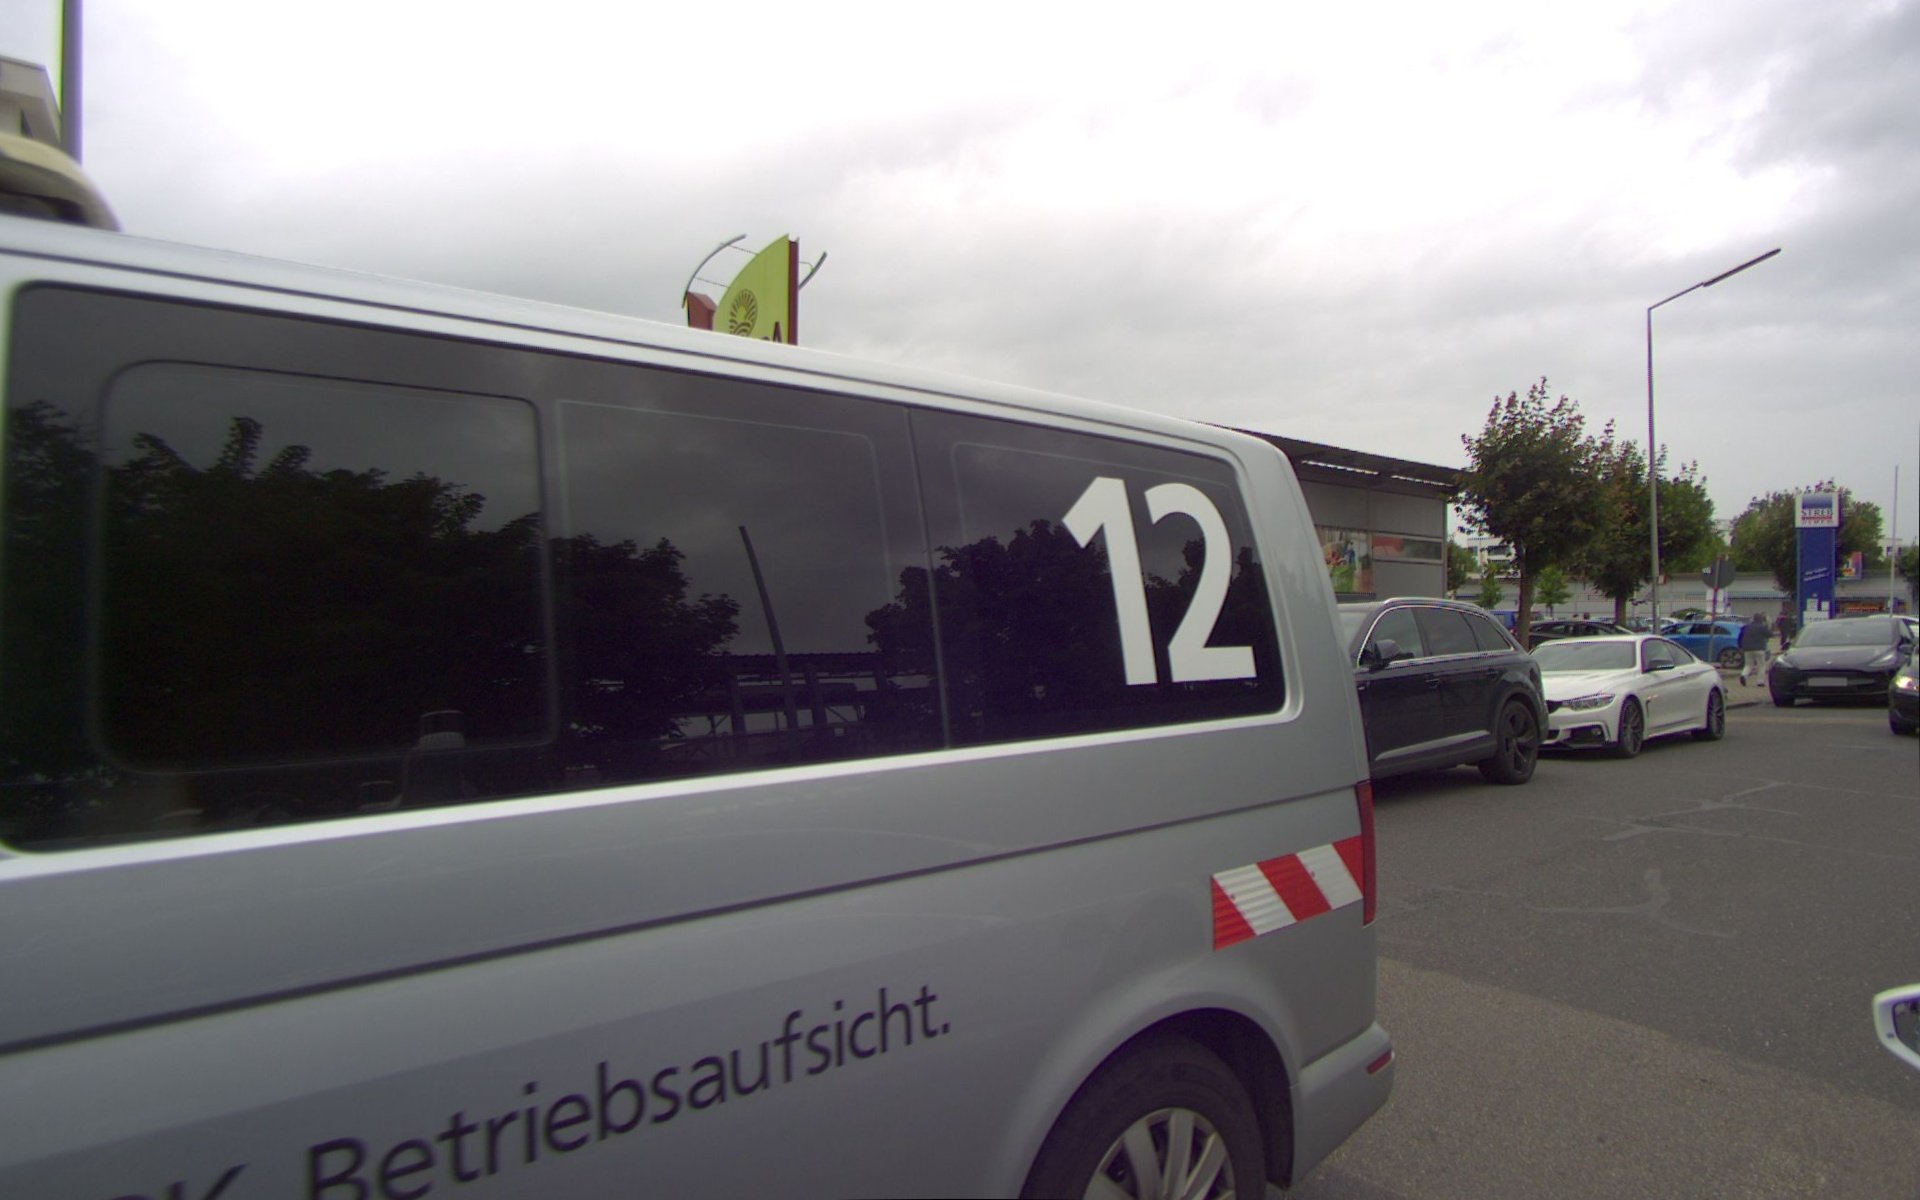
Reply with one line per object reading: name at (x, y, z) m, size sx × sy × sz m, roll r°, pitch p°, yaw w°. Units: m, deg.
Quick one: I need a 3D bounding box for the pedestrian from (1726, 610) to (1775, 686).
pedestrian at (18.822, 1.125, 23.919) m, size 0.691 × 1.738 × 0.768 m, roll 1°, pitch 0°, yaw -41°

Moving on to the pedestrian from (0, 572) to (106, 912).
pedestrian at (-5.280, 0.732, 5.423) m, size 0.673 × 1.741 × 0.696 m, roll 1°, pitch 3°, yaw 8°

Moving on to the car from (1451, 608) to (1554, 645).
car at (25.901, 1.240, 48.051) m, size 1.858 × 1.691 × 3.959 m, roll 1°, pitch -1°, yaw -36°

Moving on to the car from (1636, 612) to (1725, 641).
car at (43.039, 1.548, 60.046) m, size 1.858 × 1.691 × 3.959 m, roll 1°, pitch -1°, yaw -36°

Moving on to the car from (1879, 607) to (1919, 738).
car at (13.546, 0.892, 13.021) m, size 3.909 × 1.592 × 1.717 m, roll 1°, pitch -2°, yaw -37°

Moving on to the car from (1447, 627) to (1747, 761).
car at (8.085, 1.098, 12.595) m, size 4.477 × 1.385 × 1.687 m, roll 1°, pitch -5°, yaw -38°

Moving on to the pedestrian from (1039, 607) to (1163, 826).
pedestrian at (1.117, 0.902, 8.015) m, size 0.647 × 1.642 × 0.669 m, roll 1°, pitch -4°, yaw -36°

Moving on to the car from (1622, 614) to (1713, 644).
car at (41.128, 1.645, 58.440) m, size 1.858 × 1.691 × 3.959 m, roll 1°, pitch -1°, yaw -36°

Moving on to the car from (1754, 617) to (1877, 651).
car at (39.493, 1.536, 46.424) m, size 1.940 × 1.482 × 4.162 m, roll 1°, pitch -1°, yaw -44°

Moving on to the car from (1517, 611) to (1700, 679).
car at (17.980, 1.186, 28.003) m, size 1.909 × 1.642 × 3.846 m, roll 1°, pitch 1°, yaw -36°

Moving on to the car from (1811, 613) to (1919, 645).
car at (43.937, 1.363, 48.522) m, size 1.884 × 1.483 × 4.098 m, roll 1°, pitch -1°, yaw -42°

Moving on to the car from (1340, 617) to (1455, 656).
car at (17.874, 1.471, 41.167) m, size 1.864 × 1.504 × 3.948 m, roll 1°, pitch -1°, yaw -44°

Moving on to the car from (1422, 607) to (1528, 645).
car at (23.778, 1.182, 46.492) m, size 1.858 × 1.691 × 3.959 m, roll 1°, pitch -1°, yaw -36°

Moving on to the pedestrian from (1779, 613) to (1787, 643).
pedestrian at (43.938, 1.489, 53.623) m, size 0.355 × 1.591 × 0.501 m, roll 0°, pitch 0°, yaw 40°

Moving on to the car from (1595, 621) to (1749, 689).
car at (23.315, 1.741, 32.979) m, size 1.749 × 2.040 × 3.892 m, roll 1°, pitch -1°, yaw -43°

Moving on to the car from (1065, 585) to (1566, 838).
car at (3.319, 0.841, 8.966) m, size 4.683 × 1.713 × 1.853 m, roll 1°, pitch -4°, yaw -36°

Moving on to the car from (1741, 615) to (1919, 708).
car at (16.577, 1.114, 18.798) m, size 4.361 × 1.546 × 1.934 m, roll 1°, pitch -5°, yaw -37°

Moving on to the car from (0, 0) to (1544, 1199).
car at (-1.025, 0.464, 1.899) m, size 4.908 × 2.040 × 1.913 m, roll 2°, pitch -1°, yaw -36°

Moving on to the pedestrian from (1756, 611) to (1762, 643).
pedestrian at (44.065, 1.481, 55.384) m, size 0.259 × 1.753 × 0.420 m, roll 0°, pitch 0°, yaw 41°
